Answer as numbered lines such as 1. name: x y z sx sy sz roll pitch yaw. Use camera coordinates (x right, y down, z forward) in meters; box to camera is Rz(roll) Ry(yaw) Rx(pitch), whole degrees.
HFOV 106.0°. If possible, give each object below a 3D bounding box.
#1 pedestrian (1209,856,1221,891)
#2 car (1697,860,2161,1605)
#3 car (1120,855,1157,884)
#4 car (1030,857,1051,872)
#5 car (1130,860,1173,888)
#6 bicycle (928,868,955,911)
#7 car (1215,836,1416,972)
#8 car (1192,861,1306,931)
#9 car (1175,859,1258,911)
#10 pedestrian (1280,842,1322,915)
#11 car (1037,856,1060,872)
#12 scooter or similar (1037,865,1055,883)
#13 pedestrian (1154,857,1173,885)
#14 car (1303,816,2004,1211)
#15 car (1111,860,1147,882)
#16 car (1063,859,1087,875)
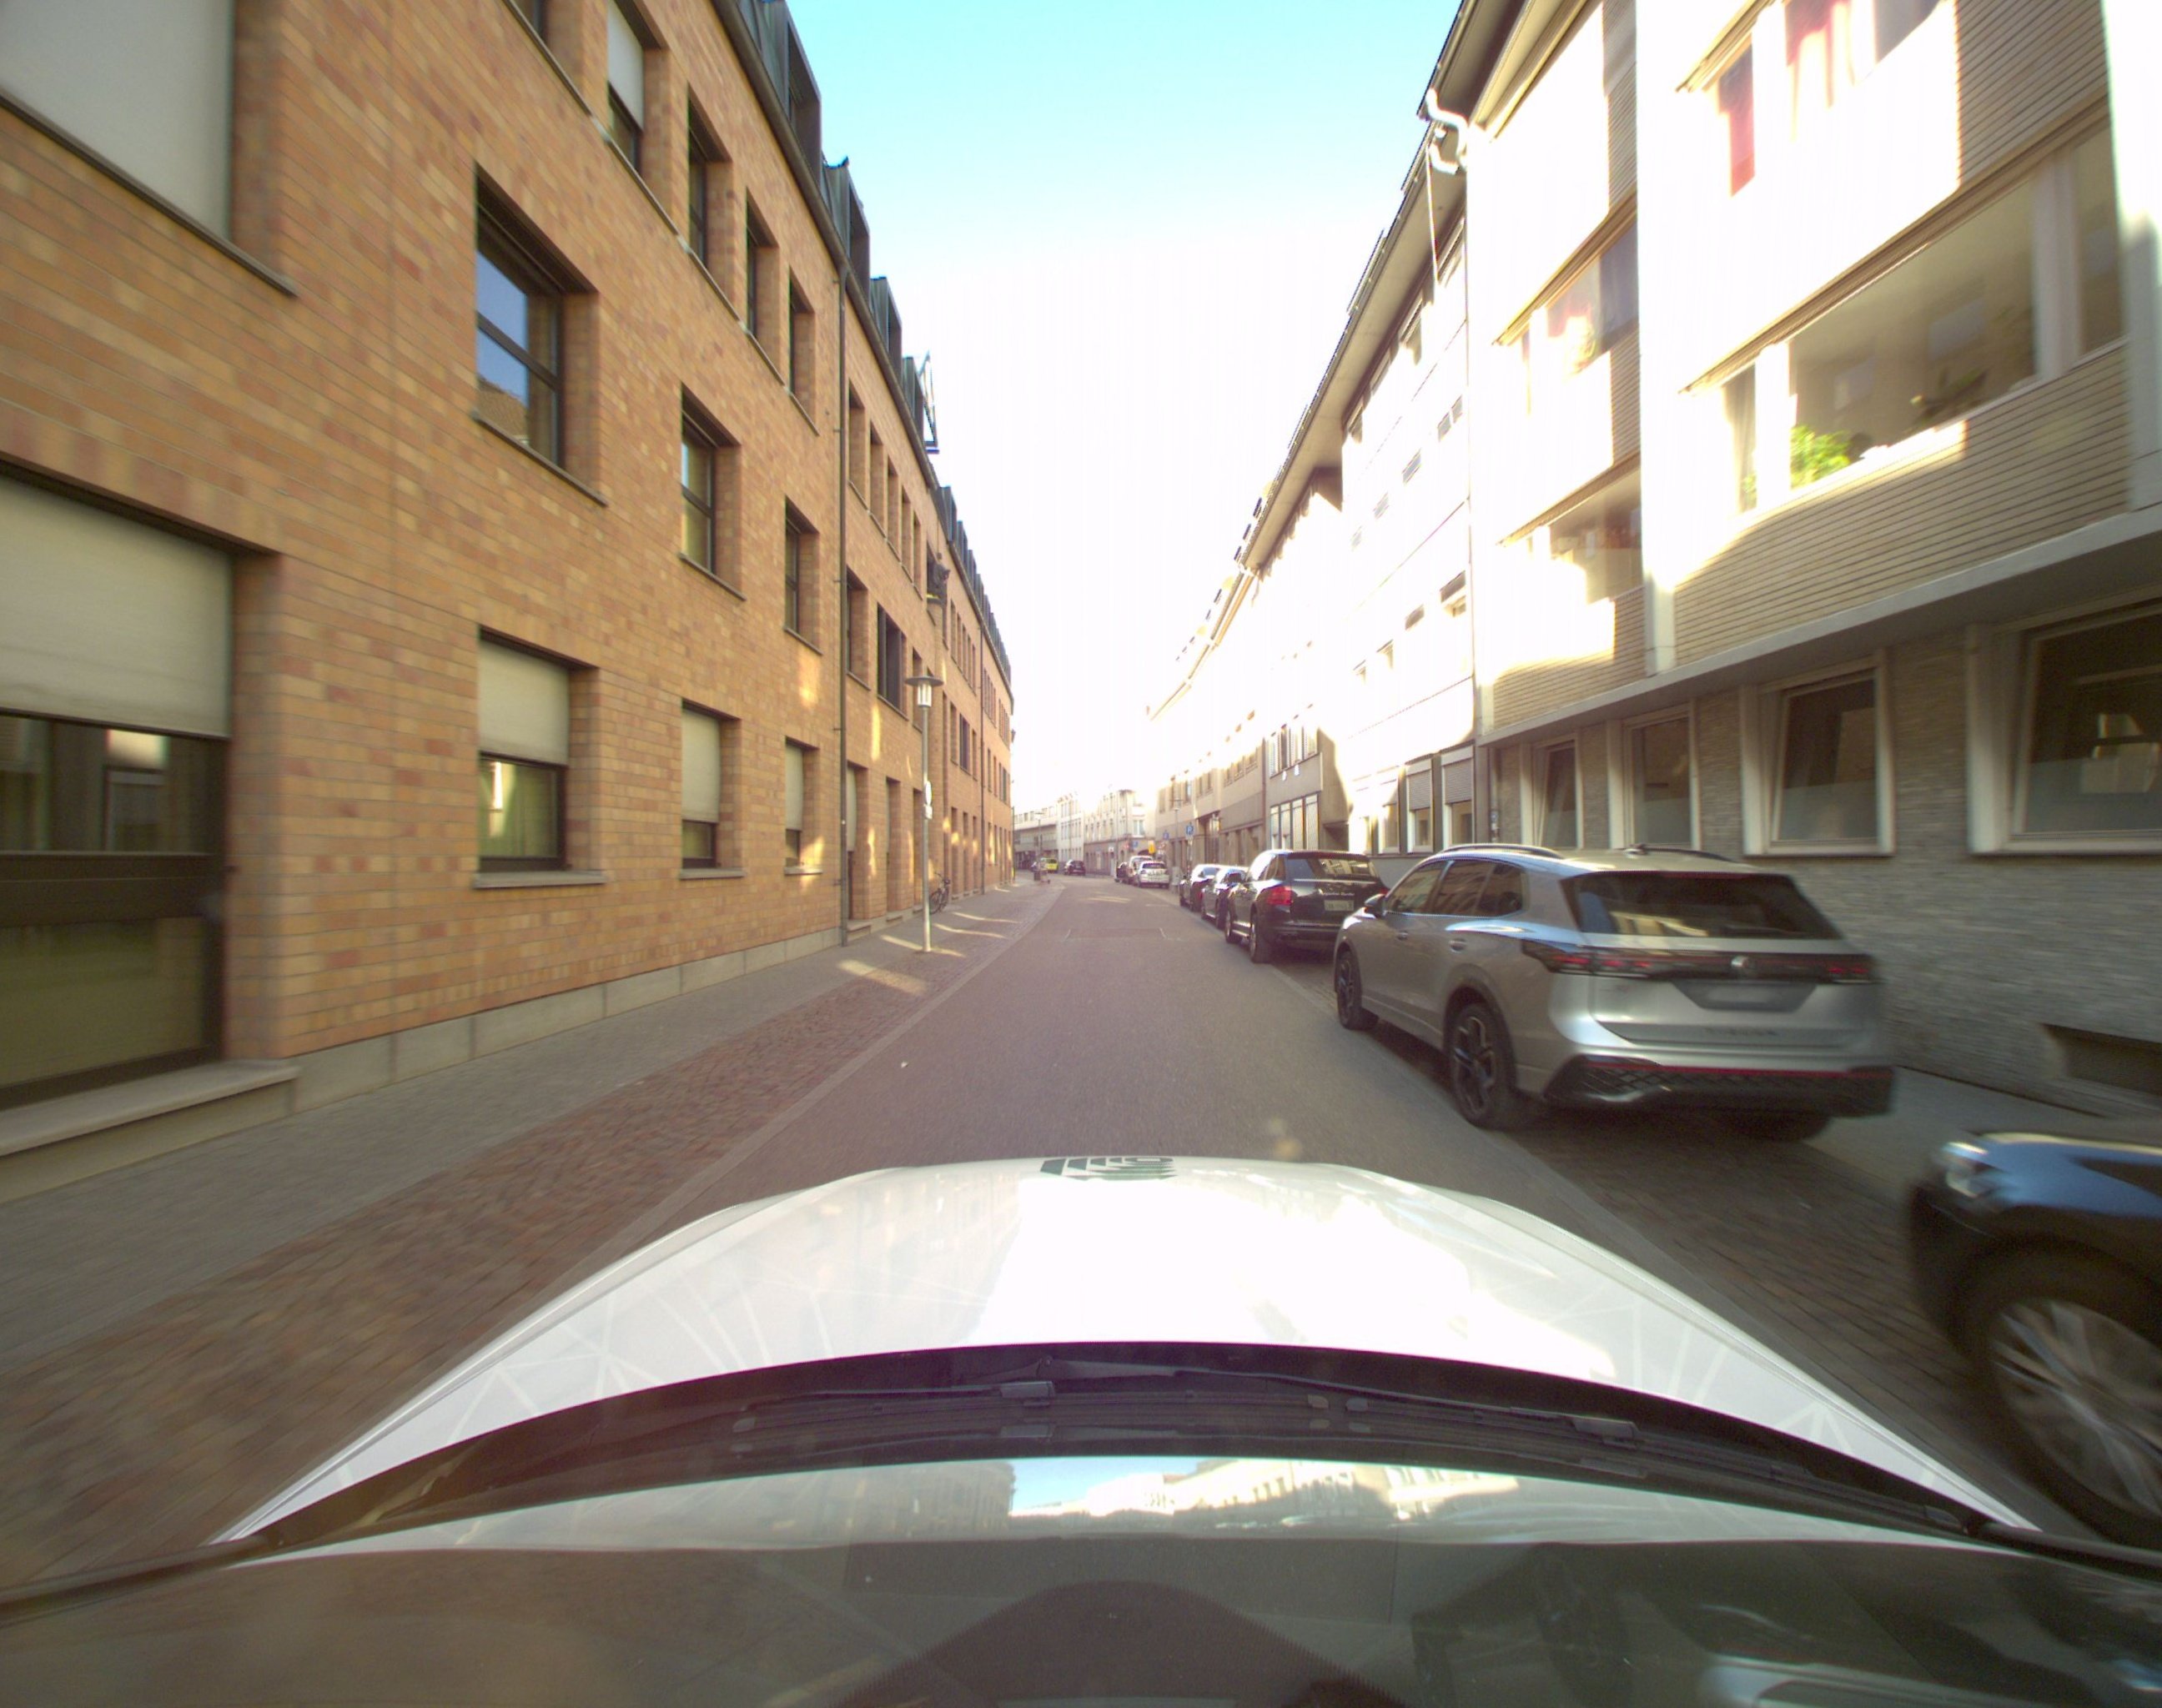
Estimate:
1. pedestrian: 6.350 0.911 38.629 0.477 1.654 0.540 -1 -1 13
2. car: 3.080 0.810 0.669 1.815 1.505 4.603 2 0 3
3. car: 3.697 0.972 53.101 1.826 1.791 5.208 1 -1 -3
4. car: -5.559 1.411 110.733 2.056 1.873 4.079 0 0 -15
5. car: 4.003 1.091 46.807 1.836 1.478 4.163 2 0 -3
6. bicycle: -4.075 1.027 23.871 0.630 1.162 1.799 3 0 -7
7. car: 3.570 0.679 13.489 2.095 1.786 5.055 1 0 3
8. car: 3.890 0.913 19.666 1.801 1.412 4.790 2 0 1
9. car: 4.141 0.895 25.699 1.887 1.453 5.227 1 0 2
10. pedestrian: 5.378 0.579 19.936 0.785 1.721 0.747 -2 0 2
11. car: -4.220 1.287 105.024 2.056 2.014 4.154 0 0 -15
12. scooter or similar: -2.472 1.398 57.008 0.691 1.217 1.365 -1 -1 25
13. pedestrian: 5.362 1.088 53.107 1.039 1.801 1.197 0 -1 -3
14. car: 3.228 0.723 6.088 1.985 1.702 4.846 2 0 2
15. car: 3.461 1.204 59.031 1.887 1.518 4.052 0 -1 -7
16. car: -0.676 1.365 88.830 1.968 1.692 4.087 1 -1 -10
